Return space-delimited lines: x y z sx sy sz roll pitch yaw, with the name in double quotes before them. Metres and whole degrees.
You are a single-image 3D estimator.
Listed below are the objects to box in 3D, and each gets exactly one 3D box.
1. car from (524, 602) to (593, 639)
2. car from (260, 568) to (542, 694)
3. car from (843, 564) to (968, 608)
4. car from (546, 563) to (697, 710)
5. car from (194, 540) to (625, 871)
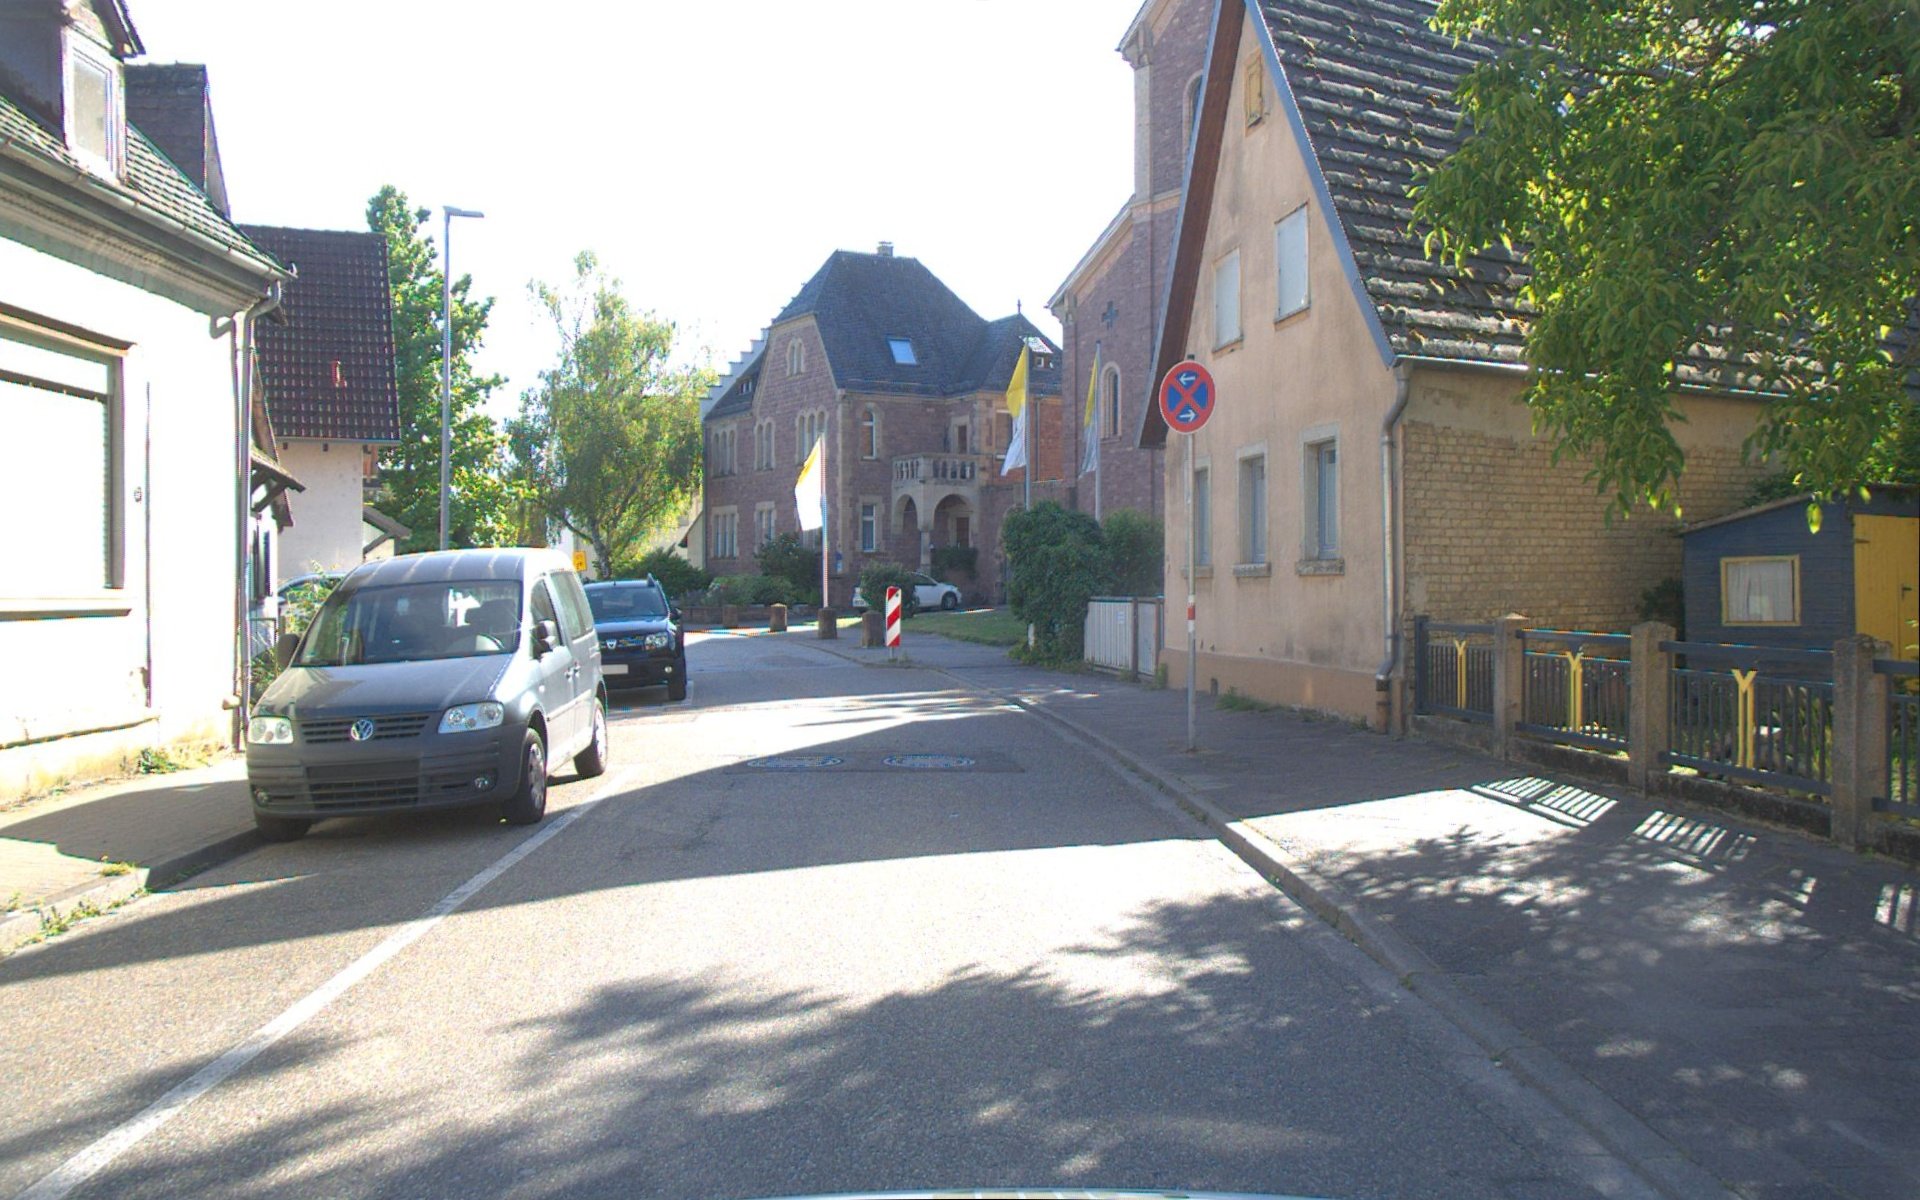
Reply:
"car" -17.008 0.843 69.974 1.695 1.425 4.203 -1 1 -31
"car" -8.987 0.453 26.807 4.125 1.763 1.822 -3 1 -19
"car" -1.934 -0.523 59.232 4.196 1.425 1.698 -2 1 -34
"car" -4.653 0.427 22.875 1.793 1.763 4.190 -2 1 -11
"car" -3.622 0.572 11.729 1.790 1.845 4.199 -2 1 -3
